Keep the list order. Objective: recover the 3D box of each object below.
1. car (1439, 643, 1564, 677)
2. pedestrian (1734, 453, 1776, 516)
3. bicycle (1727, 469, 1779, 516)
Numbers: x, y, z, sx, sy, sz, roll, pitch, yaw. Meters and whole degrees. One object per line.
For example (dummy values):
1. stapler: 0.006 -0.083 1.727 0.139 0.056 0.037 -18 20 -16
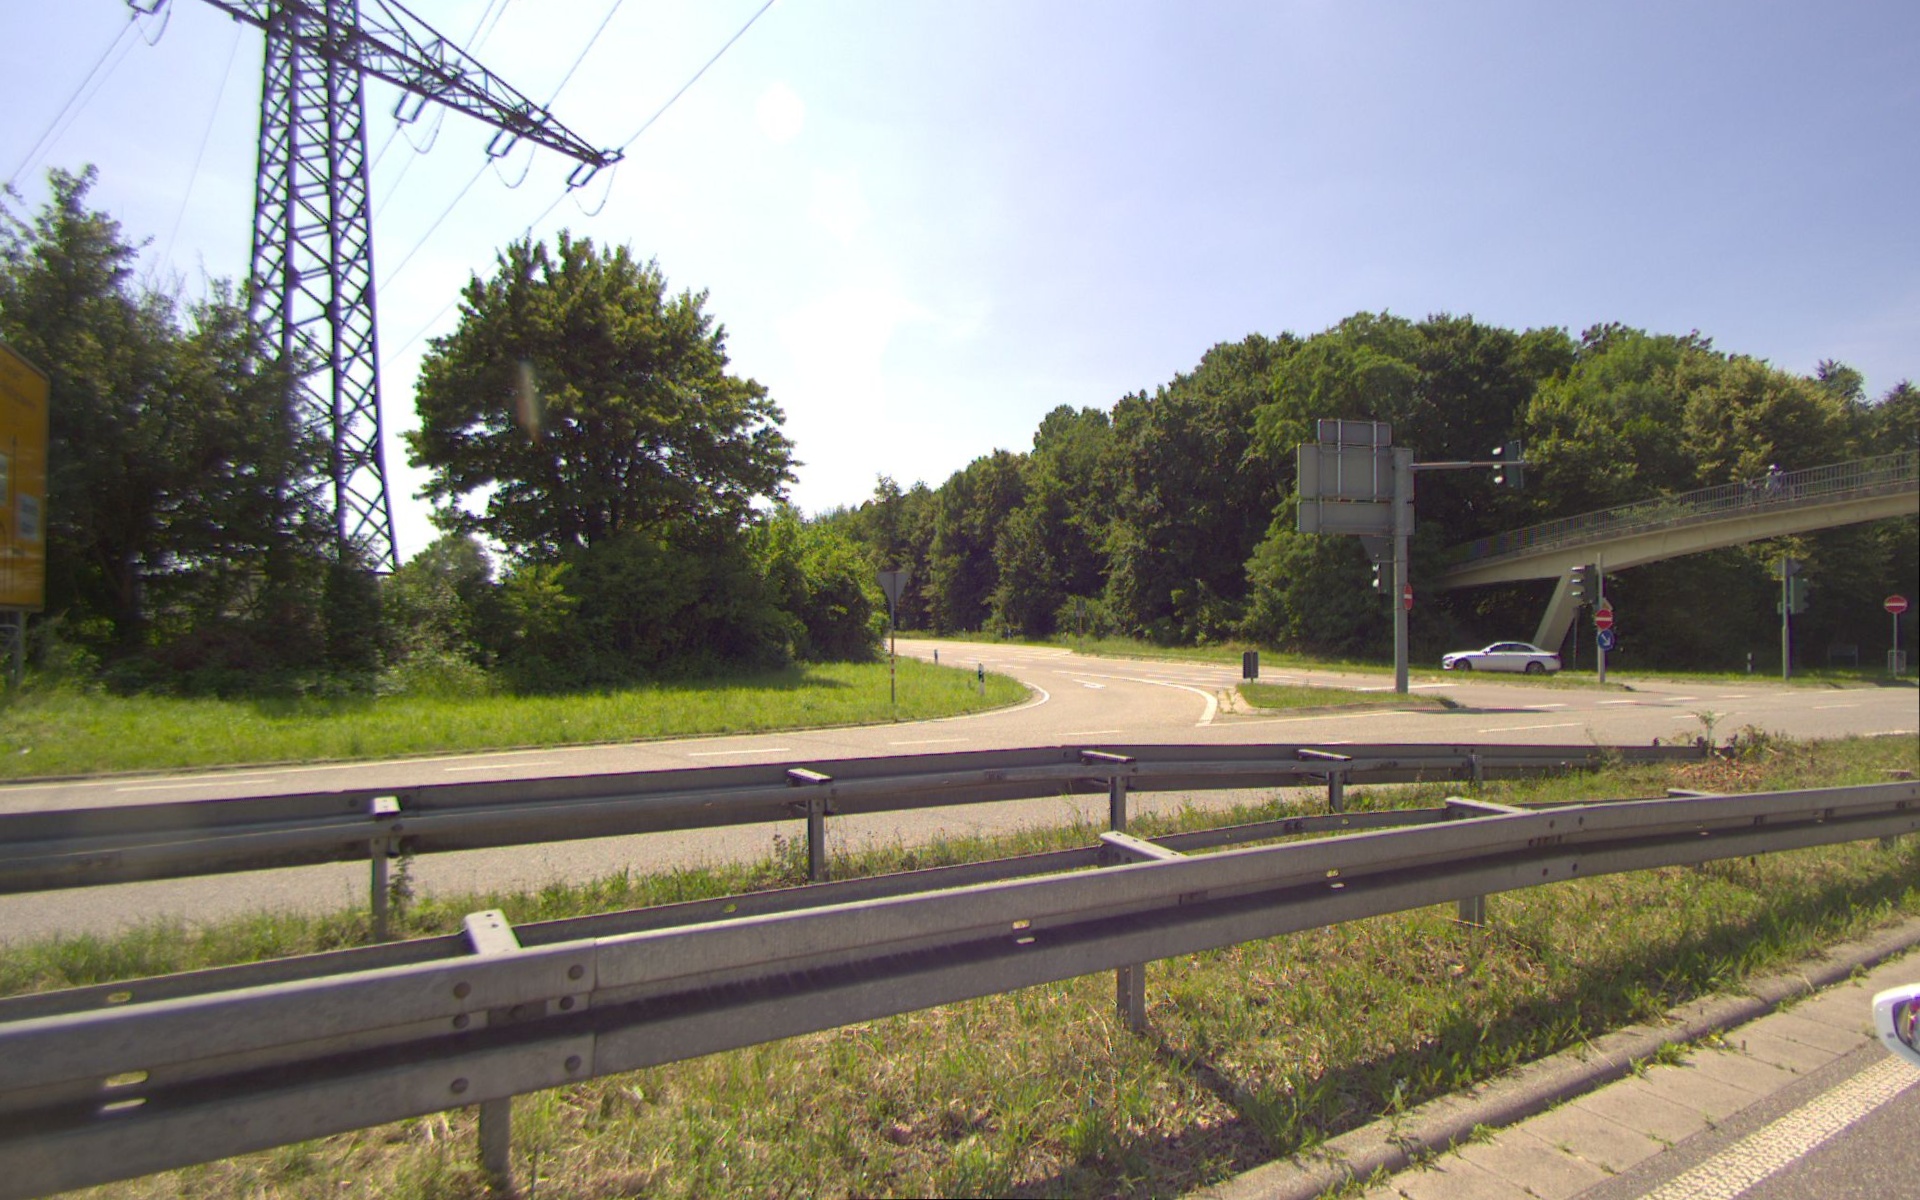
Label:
1. car: 23.858 2.616 44.475 4.690 1.391 1.999 -1 -2 23
2. pedestrian: 29.481 -4.274 37.254 0.916 2.167 0.783 2 -3 -14
3. bicycle: 29.260 -3.958 37.083 0.462 1.493 1.528 2 -3 -14
